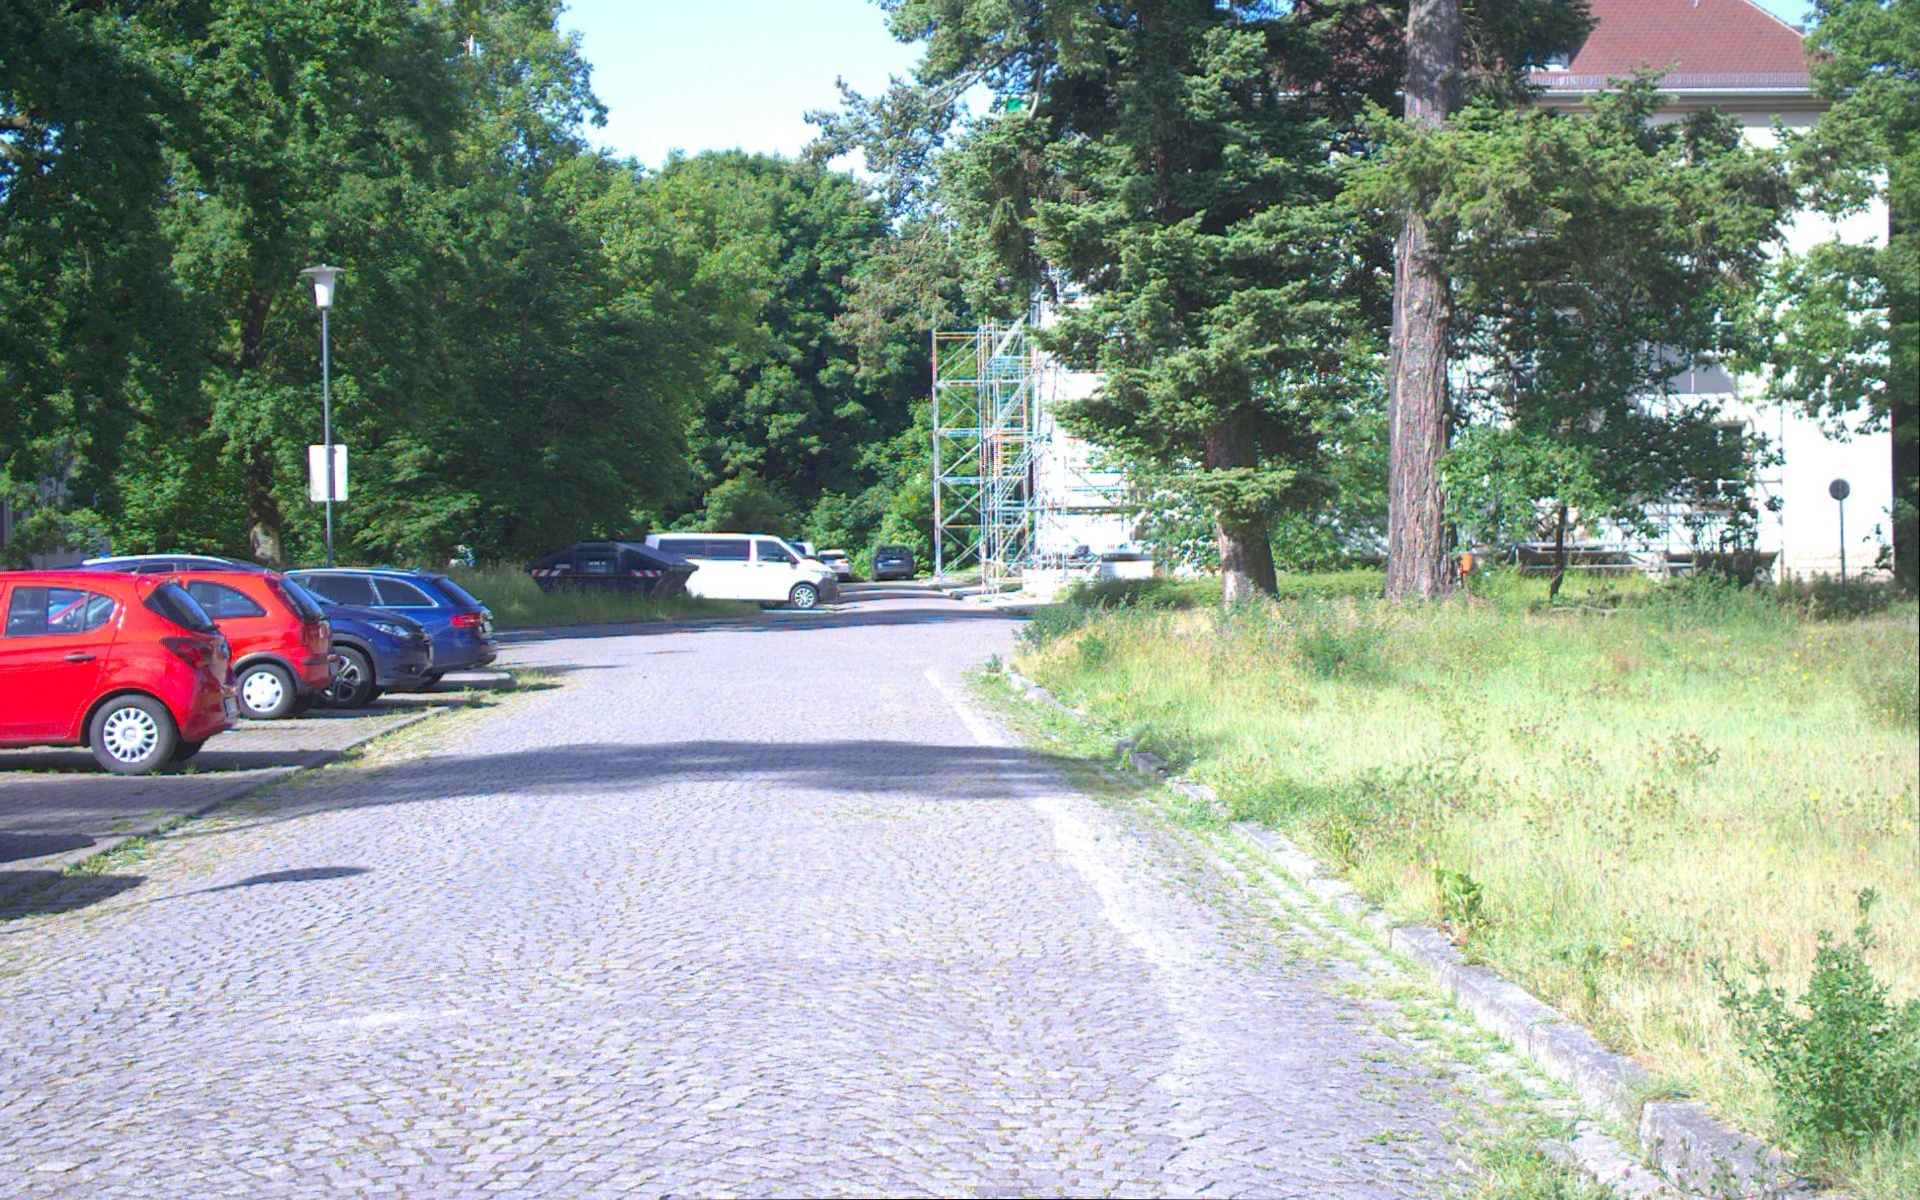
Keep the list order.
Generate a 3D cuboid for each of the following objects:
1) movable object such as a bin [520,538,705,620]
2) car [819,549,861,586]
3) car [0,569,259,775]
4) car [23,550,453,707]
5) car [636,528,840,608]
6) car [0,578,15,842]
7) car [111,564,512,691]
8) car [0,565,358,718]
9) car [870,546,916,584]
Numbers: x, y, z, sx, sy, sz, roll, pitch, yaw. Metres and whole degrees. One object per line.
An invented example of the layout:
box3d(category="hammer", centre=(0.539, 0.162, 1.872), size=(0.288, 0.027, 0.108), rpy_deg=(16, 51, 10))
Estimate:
box3d(category="movable object such as a bin", centre=(-7.719, -0.477, 76.475), size=(3.568, 1.738, 2.023), rpy_deg=(-1, 1, 17))
box3d(category="car", centre=(-5.454, -1.478, 155.693), size=(1.812, 1.574, 4.135), rpy_deg=(-1, 1, -3))
box3d(category="car", centre=(-7.359, 0.507, 25.714), size=(3.922, 1.456, 1.842), rpy_deg=(0, 1, -3))
box3d(category="car", centre=(-7.493, 0.278, 35.997), size=(4.135, 1.574, 1.884), rpy_deg=(0, 1, -2))
box3d(category="car", centre=(-5.768, -0.848, 89.636), size=(5.234, 2.009, 1.950), rpy_deg=(-1, 1, -2))
box3d(category="car", centre=(-7.177, 0.596, 18.121), size=(3.922, 1.444, 1.867), rpy_deg=(1, 1, -3))
box3d(category="car", centre=(-7.620, 0.313, 40.680), size=(4.359, 1.440, 1.921), rpy_deg=(0, 1, 1))
box3d(category="car", centre=(-7.999, 0.389, 33.606), size=(3.923, 1.428, 1.842), rpy_deg=(0, 1, -1))
box3d(category="car", centre=(-3.063, -1.580, 156.066), size=(1.971, 1.662, 4.086), rpy_deg=(-1, 1, -3))
